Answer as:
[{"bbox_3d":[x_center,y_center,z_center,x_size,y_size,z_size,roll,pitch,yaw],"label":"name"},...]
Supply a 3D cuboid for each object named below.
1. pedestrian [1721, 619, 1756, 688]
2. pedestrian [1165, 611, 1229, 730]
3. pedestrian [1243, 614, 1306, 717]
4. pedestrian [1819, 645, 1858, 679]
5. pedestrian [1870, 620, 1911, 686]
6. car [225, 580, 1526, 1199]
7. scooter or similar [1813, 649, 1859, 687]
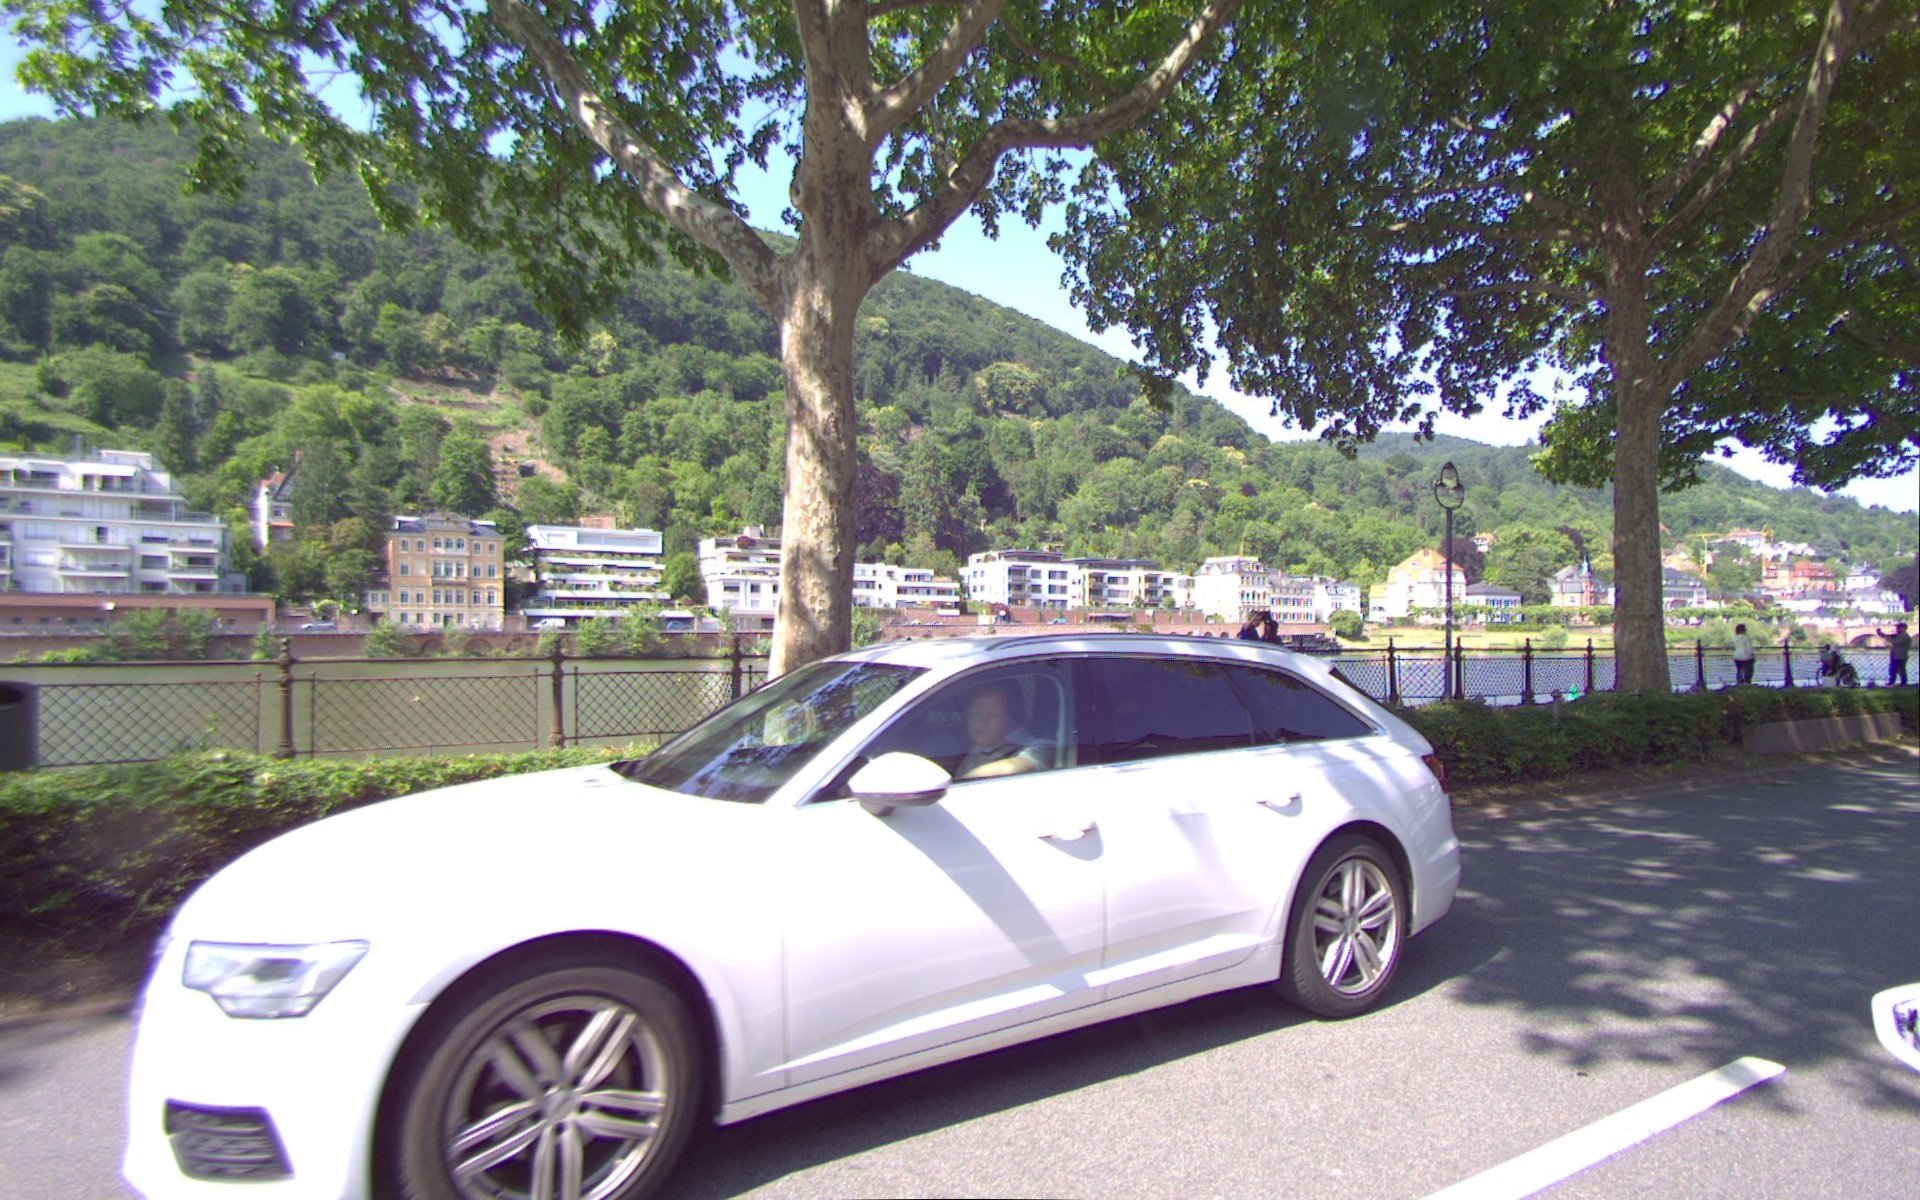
[{"bbox_3d":[20.000,1.374,25.809,0.399,1.733,0.581,1,0,-31],"label":"pedestrian"},{"bbox_3d":[3.753,1.099,15.938,0.696,1.820,0.701,1,-2,-28],"label":"pedestrian"},{"bbox_3d":[5.127,1.051,16.409,0.696,1.624,0.701,1,-2,-28],"label":"pedestrian"},{"bbox_3d":[23.745,1.660,27.138,0.697,0.895,0.604,1,-1,-30],"label":"pedestrian"},{"bbox_3d":[23.790,1.349,25.673,0.453,1.640,0.641,1,0,-31],"label":"pedestrian"},{"bbox_3d":[0.043,0.791,3.893,4.482,1.476,1.761,1,-3,-31],"label":"car"},{"bbox_3d":[23.608,1.825,27.060,1.000,0.981,0.628,1,0,-30],"label":"scooter or similar"}]
